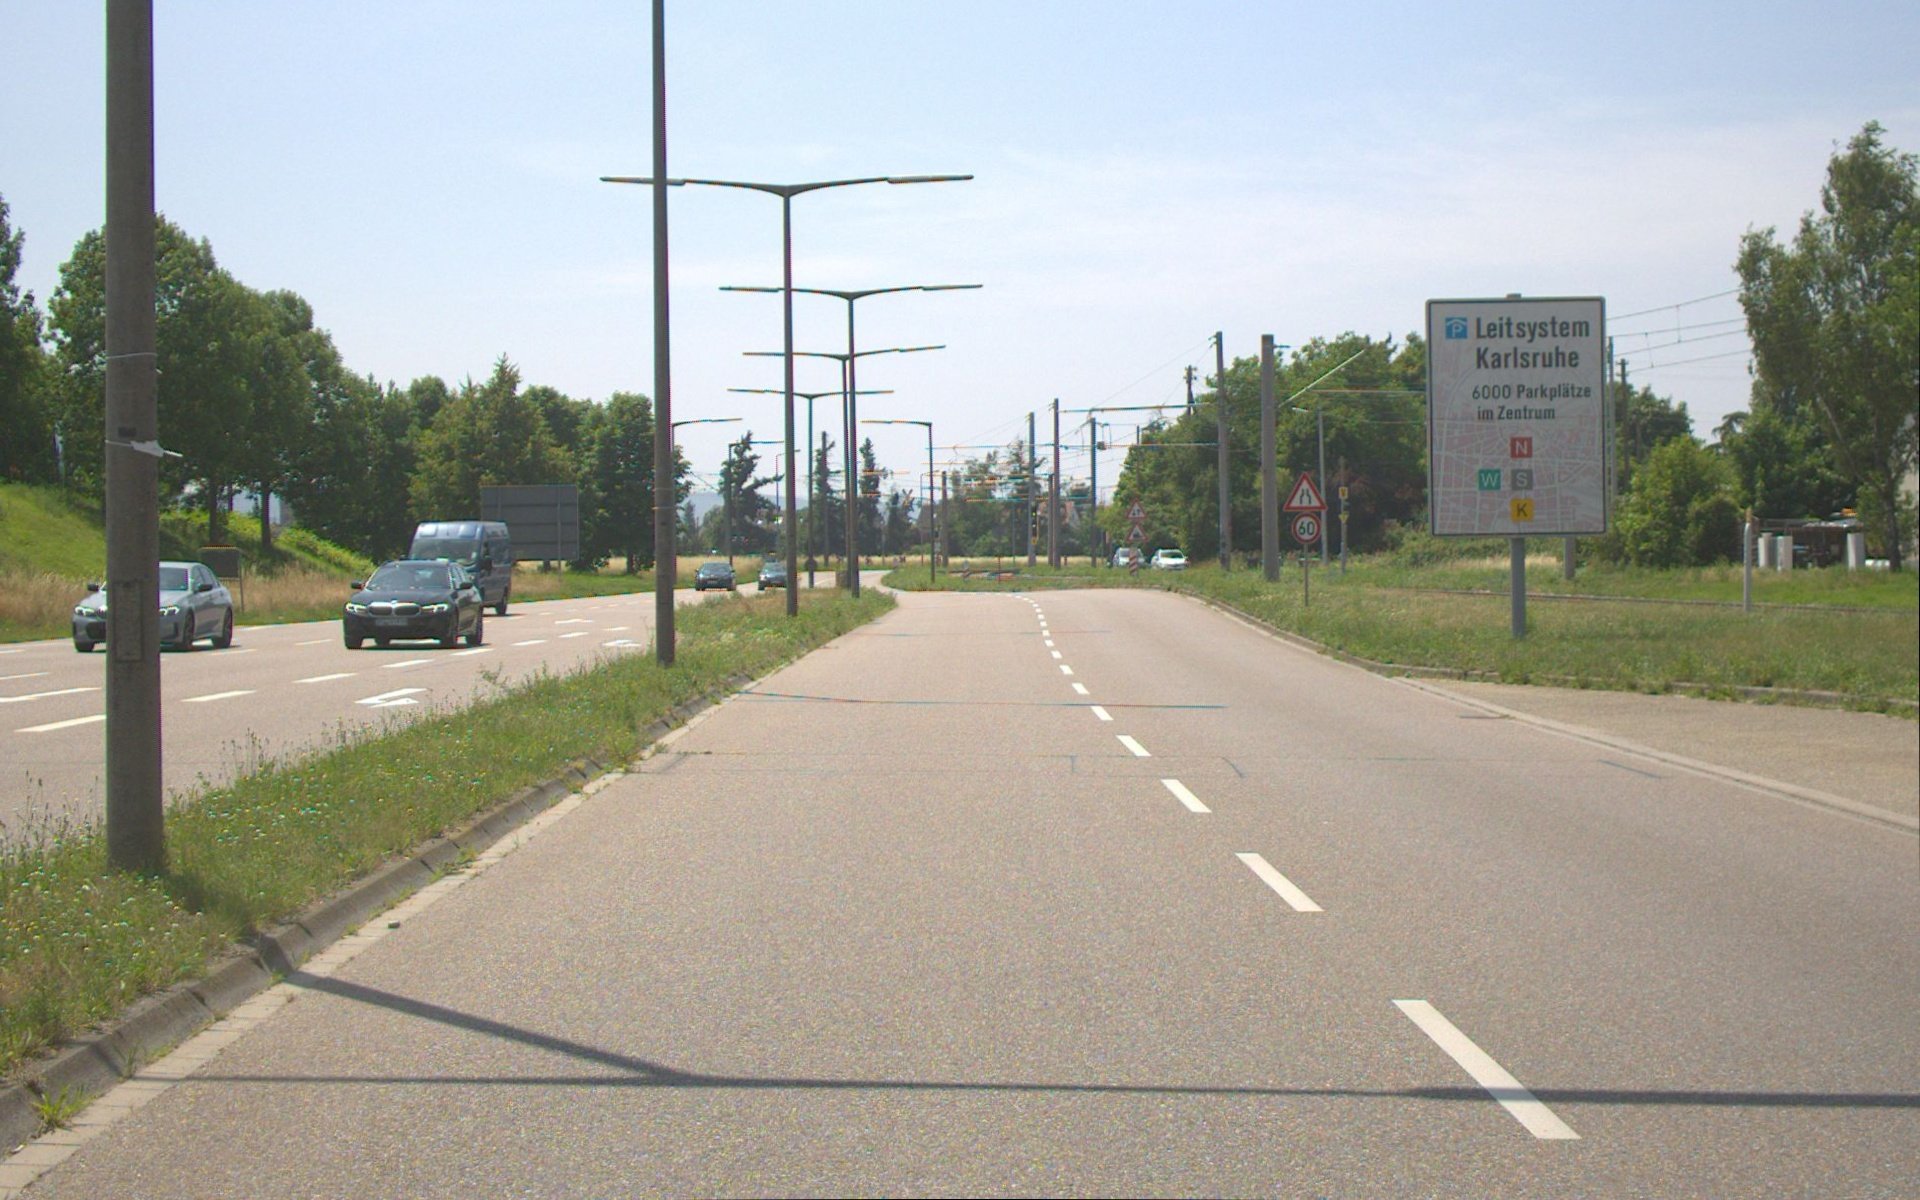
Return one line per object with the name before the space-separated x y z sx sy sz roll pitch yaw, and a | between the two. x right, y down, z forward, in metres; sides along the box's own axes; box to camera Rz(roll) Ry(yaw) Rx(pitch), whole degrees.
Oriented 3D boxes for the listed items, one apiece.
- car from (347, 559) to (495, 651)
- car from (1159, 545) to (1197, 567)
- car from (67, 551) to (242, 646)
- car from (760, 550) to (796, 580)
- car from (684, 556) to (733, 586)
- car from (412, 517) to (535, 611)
car | -9.038 0.049 57.959 1.731 1.453 4.565 -1 1 0
car | 12.163 -2.465 191.707 1.562 1.175 3.080 -1 1 -7
car | -13.149 -0.057 56.409 1.831 1.444 4.852 -1 1 -1
car | -9.380 -1.811 177.062 1.692 1.486 4.000 -1 1 -1
car | -12.543 -1.460 171.465 1.993 1.355 4.666 -2 1 1
car | -12.889 -0.984 91.456 2.174 2.403 5.671 0 1 3
